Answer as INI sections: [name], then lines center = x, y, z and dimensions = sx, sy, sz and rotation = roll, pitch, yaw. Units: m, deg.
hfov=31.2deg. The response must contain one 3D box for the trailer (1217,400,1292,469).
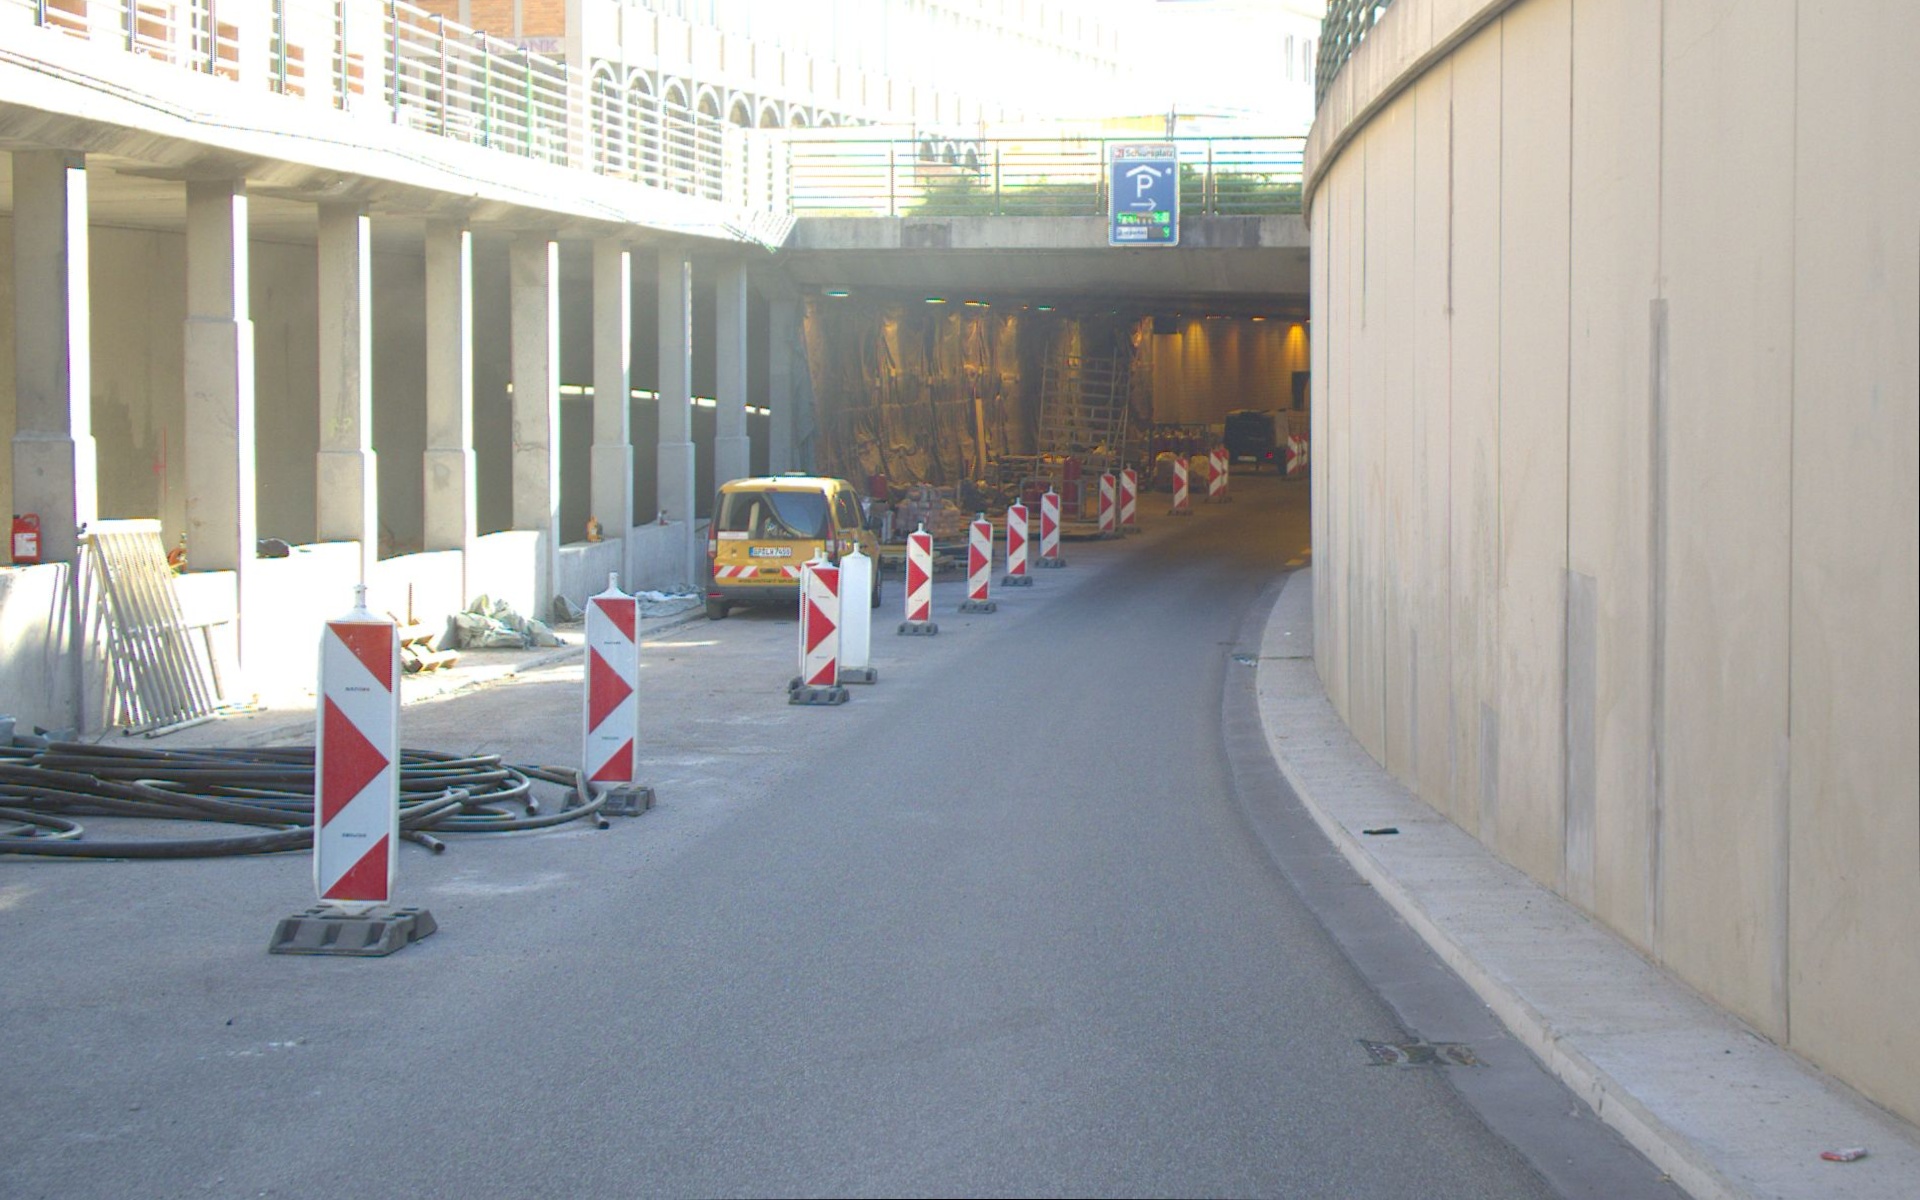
[trailer]
center = 8.067, -4.543, 94.087
dimensions = 1.581, 1.791, 2.938
rotation = 2, 4, 13

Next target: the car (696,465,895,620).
[car]
center = -2.071, -0.792, 44.499
dimensions = 1.848, 1.769, 4.434
rotation = 1, 4, 7
